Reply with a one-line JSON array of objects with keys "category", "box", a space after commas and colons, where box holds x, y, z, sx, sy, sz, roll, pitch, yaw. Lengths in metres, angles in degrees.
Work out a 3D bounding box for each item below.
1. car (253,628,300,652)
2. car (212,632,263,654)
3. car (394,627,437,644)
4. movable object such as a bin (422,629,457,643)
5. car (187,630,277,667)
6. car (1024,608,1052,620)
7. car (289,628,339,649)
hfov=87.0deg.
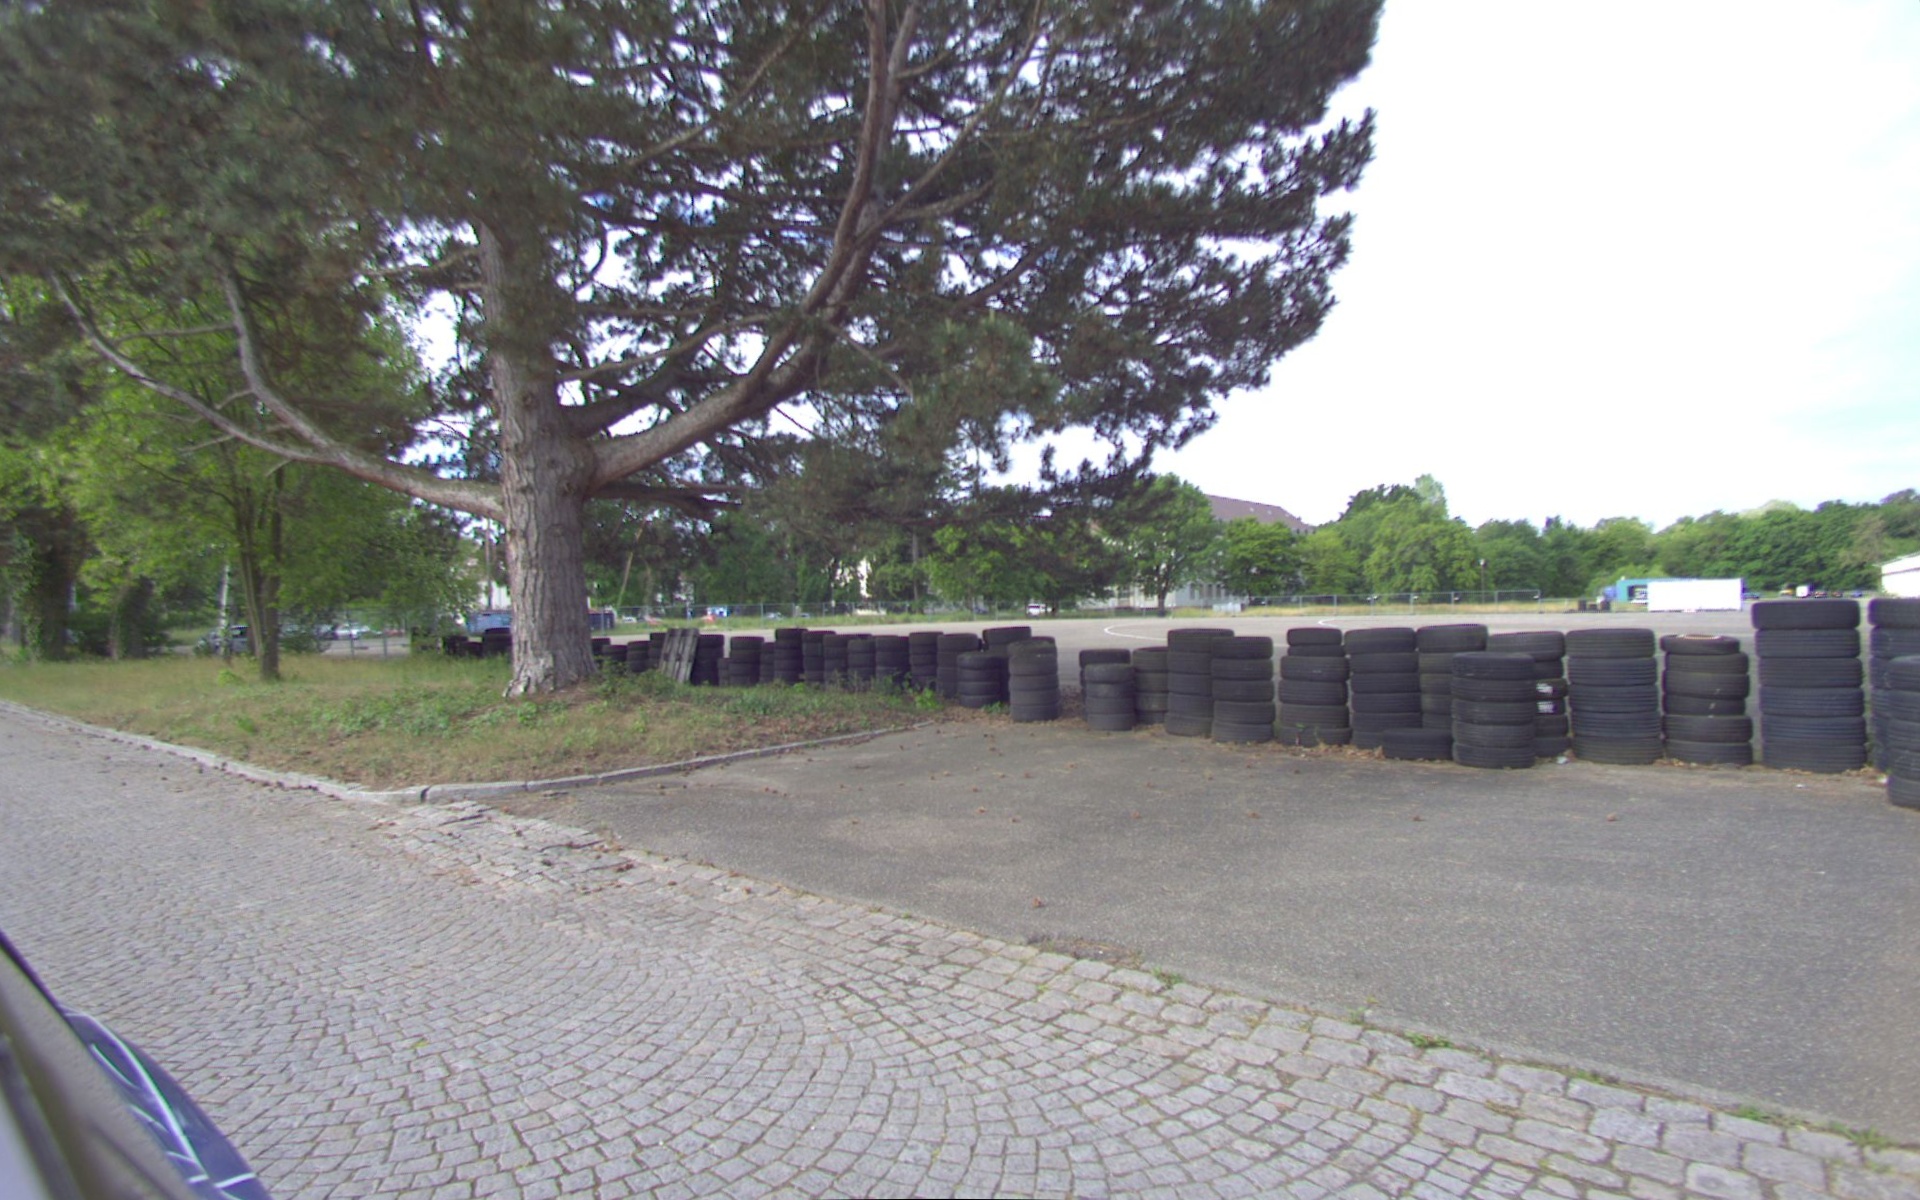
[{"category": "car", "box": [-50.848, 2.980, 75.271, 3.892, 1.531, 1.654, -4, -2, 37]}, {"category": "car", "box": [-52.365, 3.111, 73.313, 4.313, 1.436, 1.808, -2, -1, 37]}, {"category": "car", "box": [-50.411, 3.295, 93.679, 4.395, 1.486, 1.808, -2, -1, 37]}, {"category": "movable object such as a bin", "box": [-37.325, 2.580, 72.588, 1.952, 0.976, 1.432, -2, -1, 32]}, {"category": "car", "box": [-29.887, 2.007, 41.510, 4.414, 1.427, 1.807, -2, -3, 37]}, {"category": "car", "box": [12.715, 2.267, 165.258, 4.287, 1.735, 1.806, -2, 1, 41]}, {"category": "car", "box": [-49.518, 2.963, 77.568, 4.395, 1.486, 1.808, -2, -1, 37]}]
